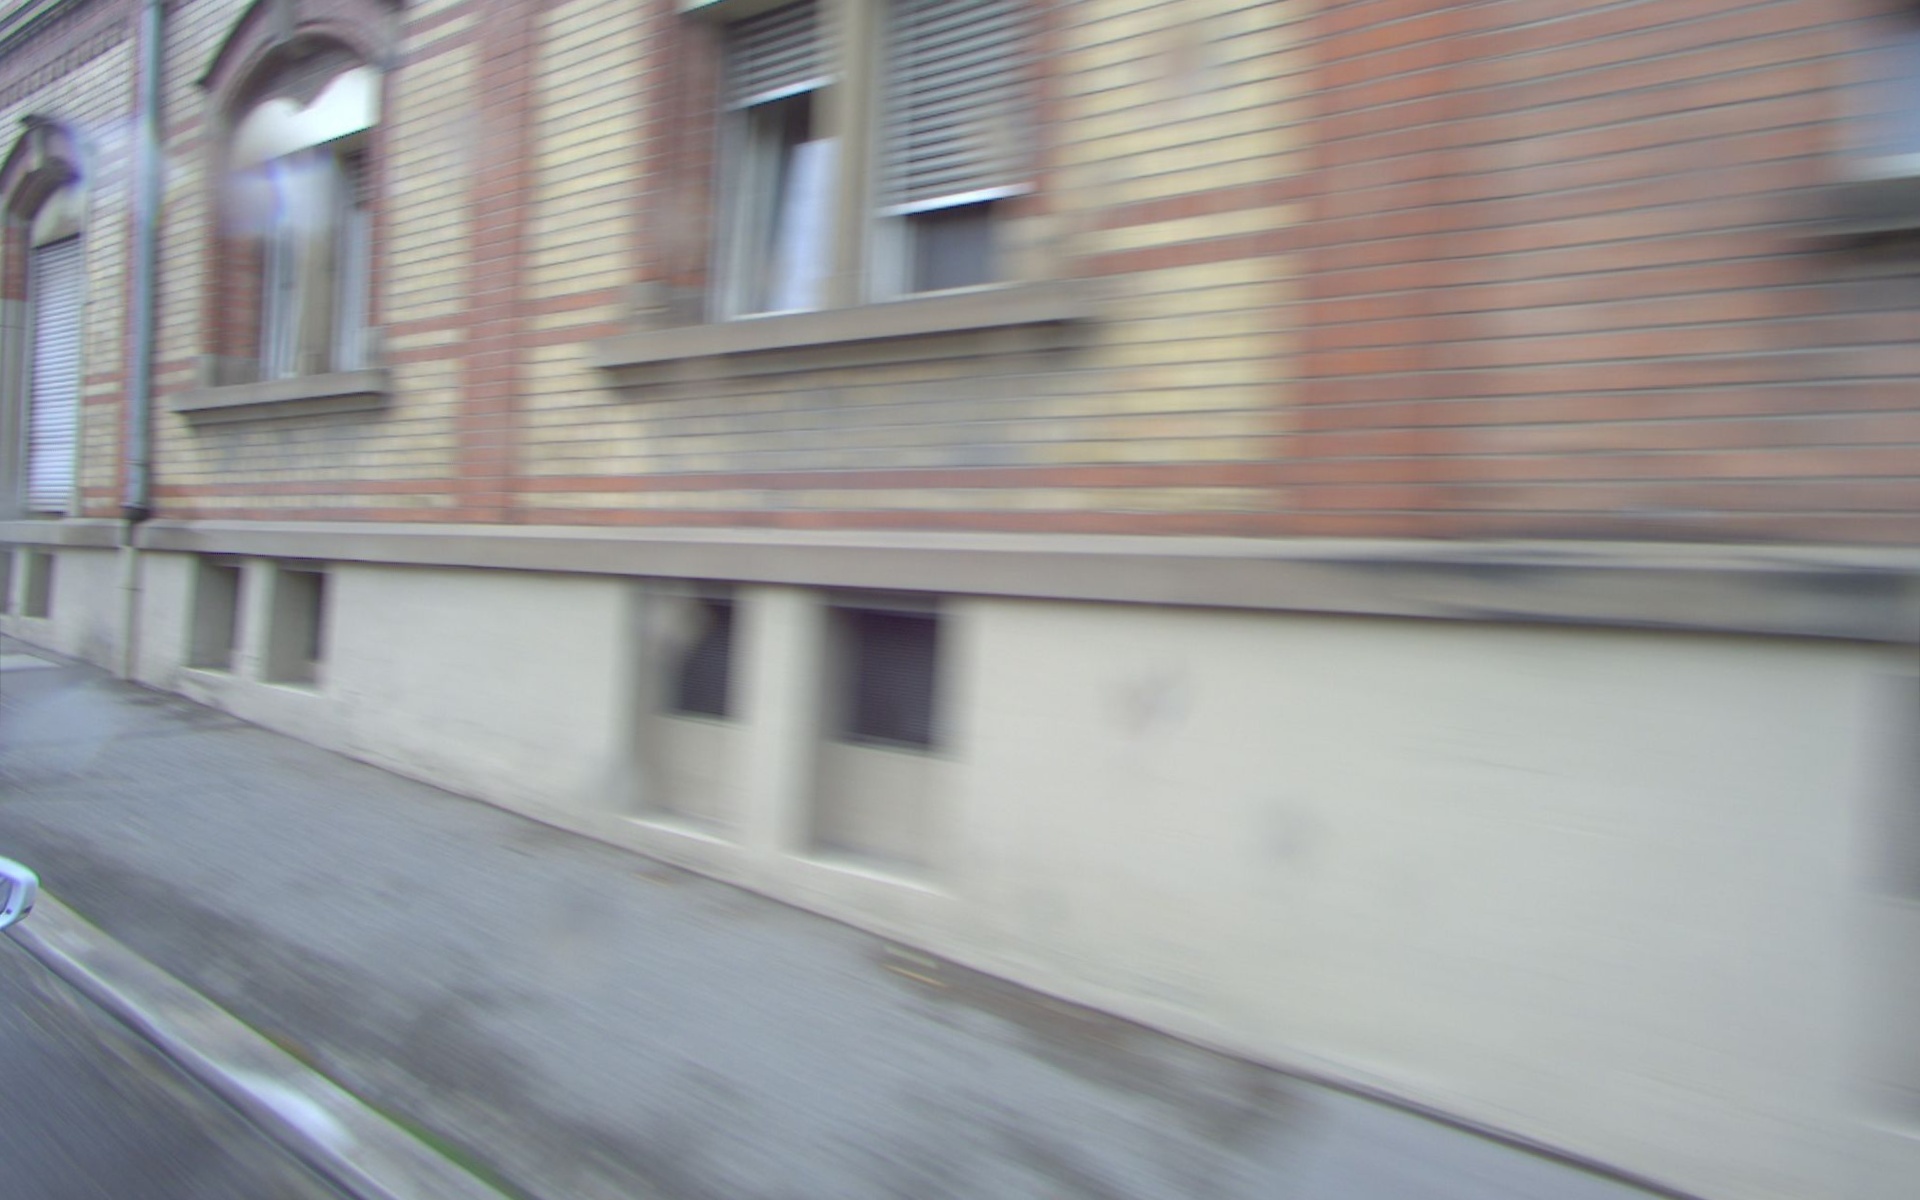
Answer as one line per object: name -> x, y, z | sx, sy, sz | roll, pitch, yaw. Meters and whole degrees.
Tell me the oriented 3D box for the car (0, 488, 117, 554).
car -> -26.844, -2.295, 28.711 | 3.956, 1.526, 1.884 | 4, -2, -32
